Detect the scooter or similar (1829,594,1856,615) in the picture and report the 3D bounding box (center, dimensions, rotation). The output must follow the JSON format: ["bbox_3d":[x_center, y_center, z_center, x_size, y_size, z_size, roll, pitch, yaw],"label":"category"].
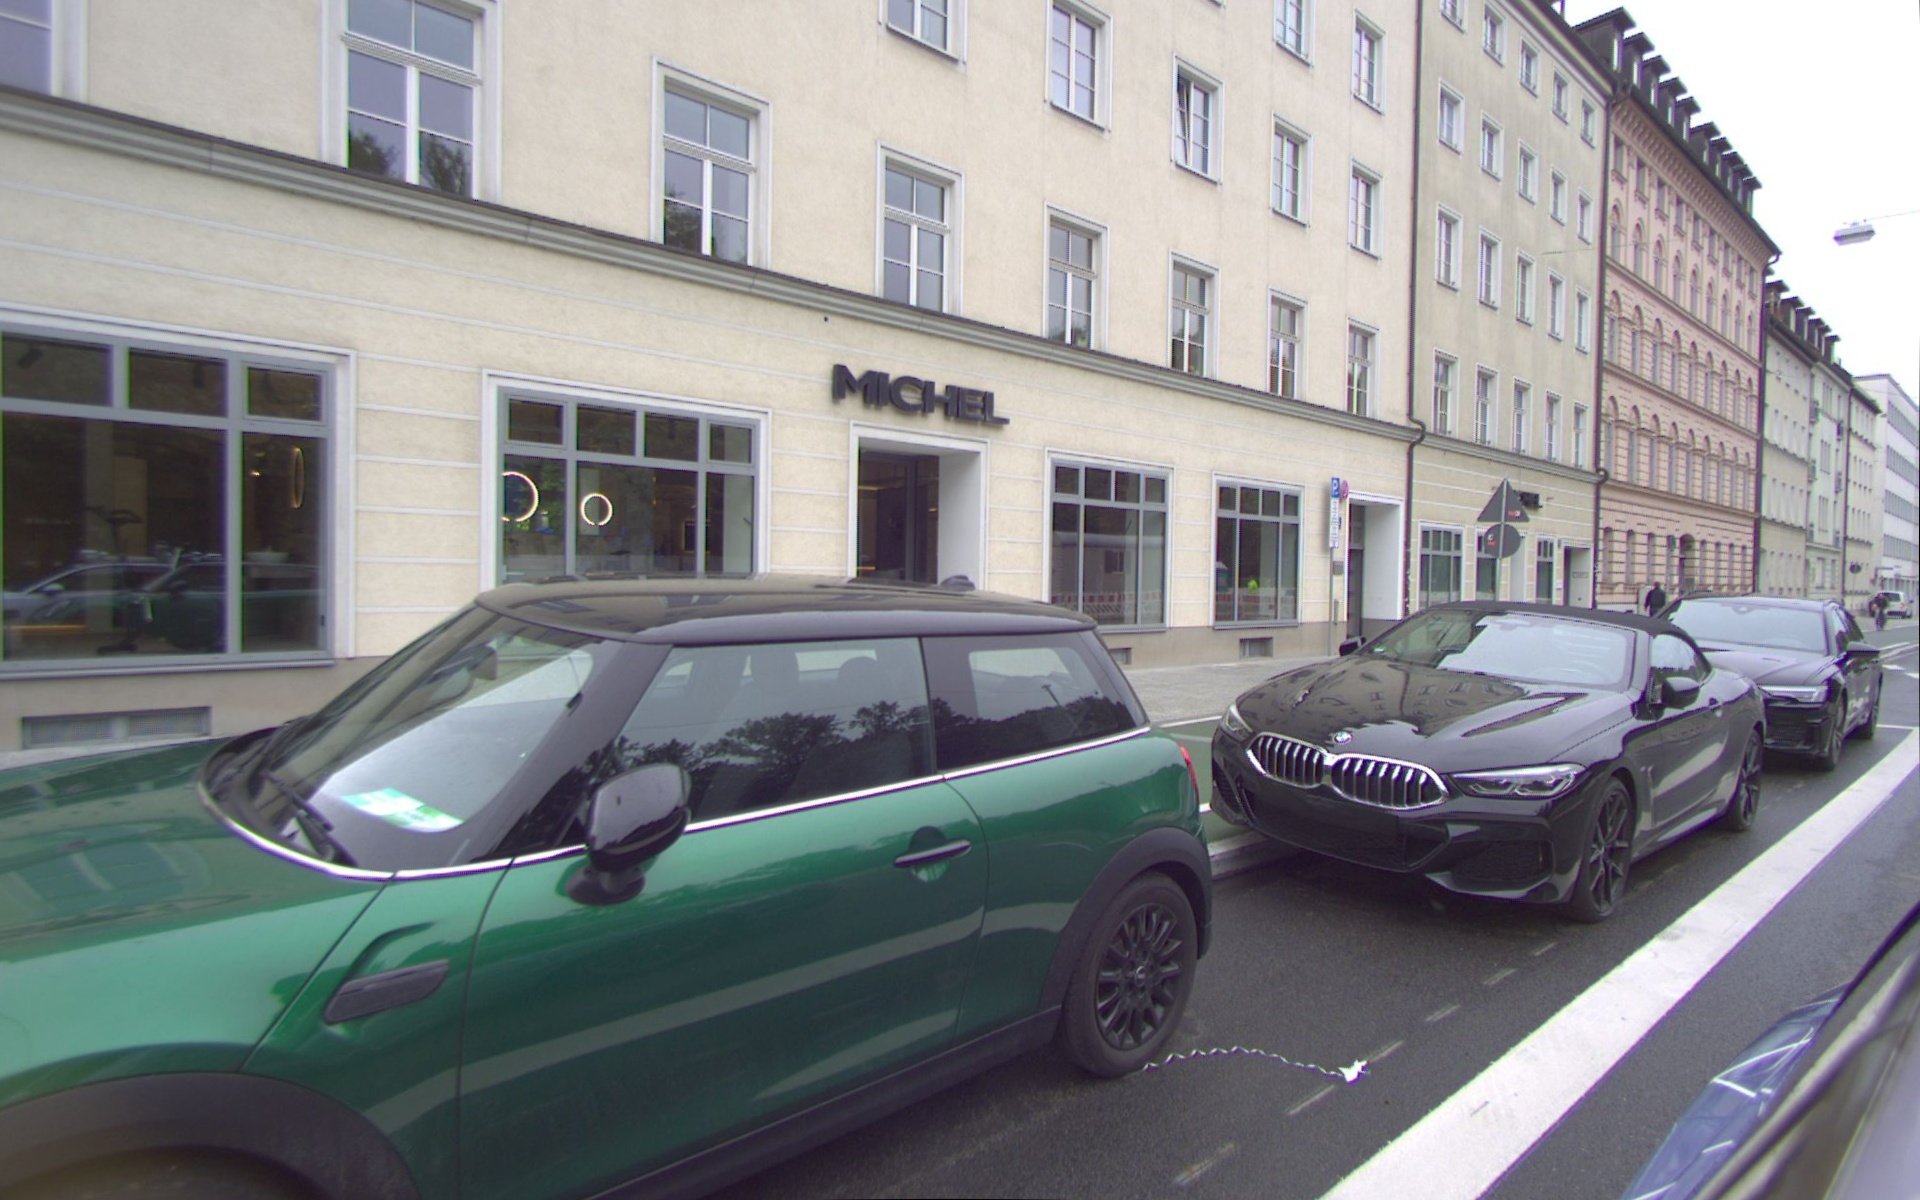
[{"bbox_3d":[50.638,0.249,58.056,1.059,1.207,0.436,1,1,10],"label":"scooter or similar"}]

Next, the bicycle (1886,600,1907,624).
[{"bbox_3d":[42.362,0.543,45.797,0.630,1.050,1.987,2,2,42],"label":"bicycle"}]

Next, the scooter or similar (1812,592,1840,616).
[{"bbox_3d":[46.193,0.214,53.983,1.055,1.261,0.554,1,1,-6],"label":"scooter or similar"}]

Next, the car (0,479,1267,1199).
[{"bbox_3d":[-0.971,0.598,2.727,3.761,1.540,1.678,0,0,-40],"label":"car"}]

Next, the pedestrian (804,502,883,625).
[{"bbox_3d":[-1.698,-0.530,14.680,0.767,1.710,0.861,0,2,-39],"label":"pedestrian"}]

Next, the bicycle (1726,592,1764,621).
[{"bbox_3d":[32.481,0.270,41.870,1.690,1.191,0.558,0,1,-27],"label":"bicycle"}]

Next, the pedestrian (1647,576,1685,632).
[{"bbox_3d":[22.906,0.127,32.848,0.819,1.767,0.795,0,1,-41],"label":"pedestrian"}]

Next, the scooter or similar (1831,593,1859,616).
[{"bbox_3d":[49.832,0.247,56.979,1.063,1.207,0.451,2,1,20],"label":"scooter or similar"}]

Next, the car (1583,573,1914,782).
[{"bbox_3d":[7.955,0.585,10.046,4.387,1.498,1.812,0,5,-43],"label":"car"}]

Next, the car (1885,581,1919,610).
[{"bbox_3d":[63.527,-0.326,67.867,3.931,1.855,1.764,0,1,-42],"label":"car"}]

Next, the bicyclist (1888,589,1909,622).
[{"bbox_3d":[42.430,0.237,45.757,0.630,1.486,0.643,2,1,42],"label":"bicyclist"}]

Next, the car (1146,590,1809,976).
[{"bbox_3d":[3.297,0.663,5.944,4.636,1.425,1.829,0,0,-40],"label":"car"}]
